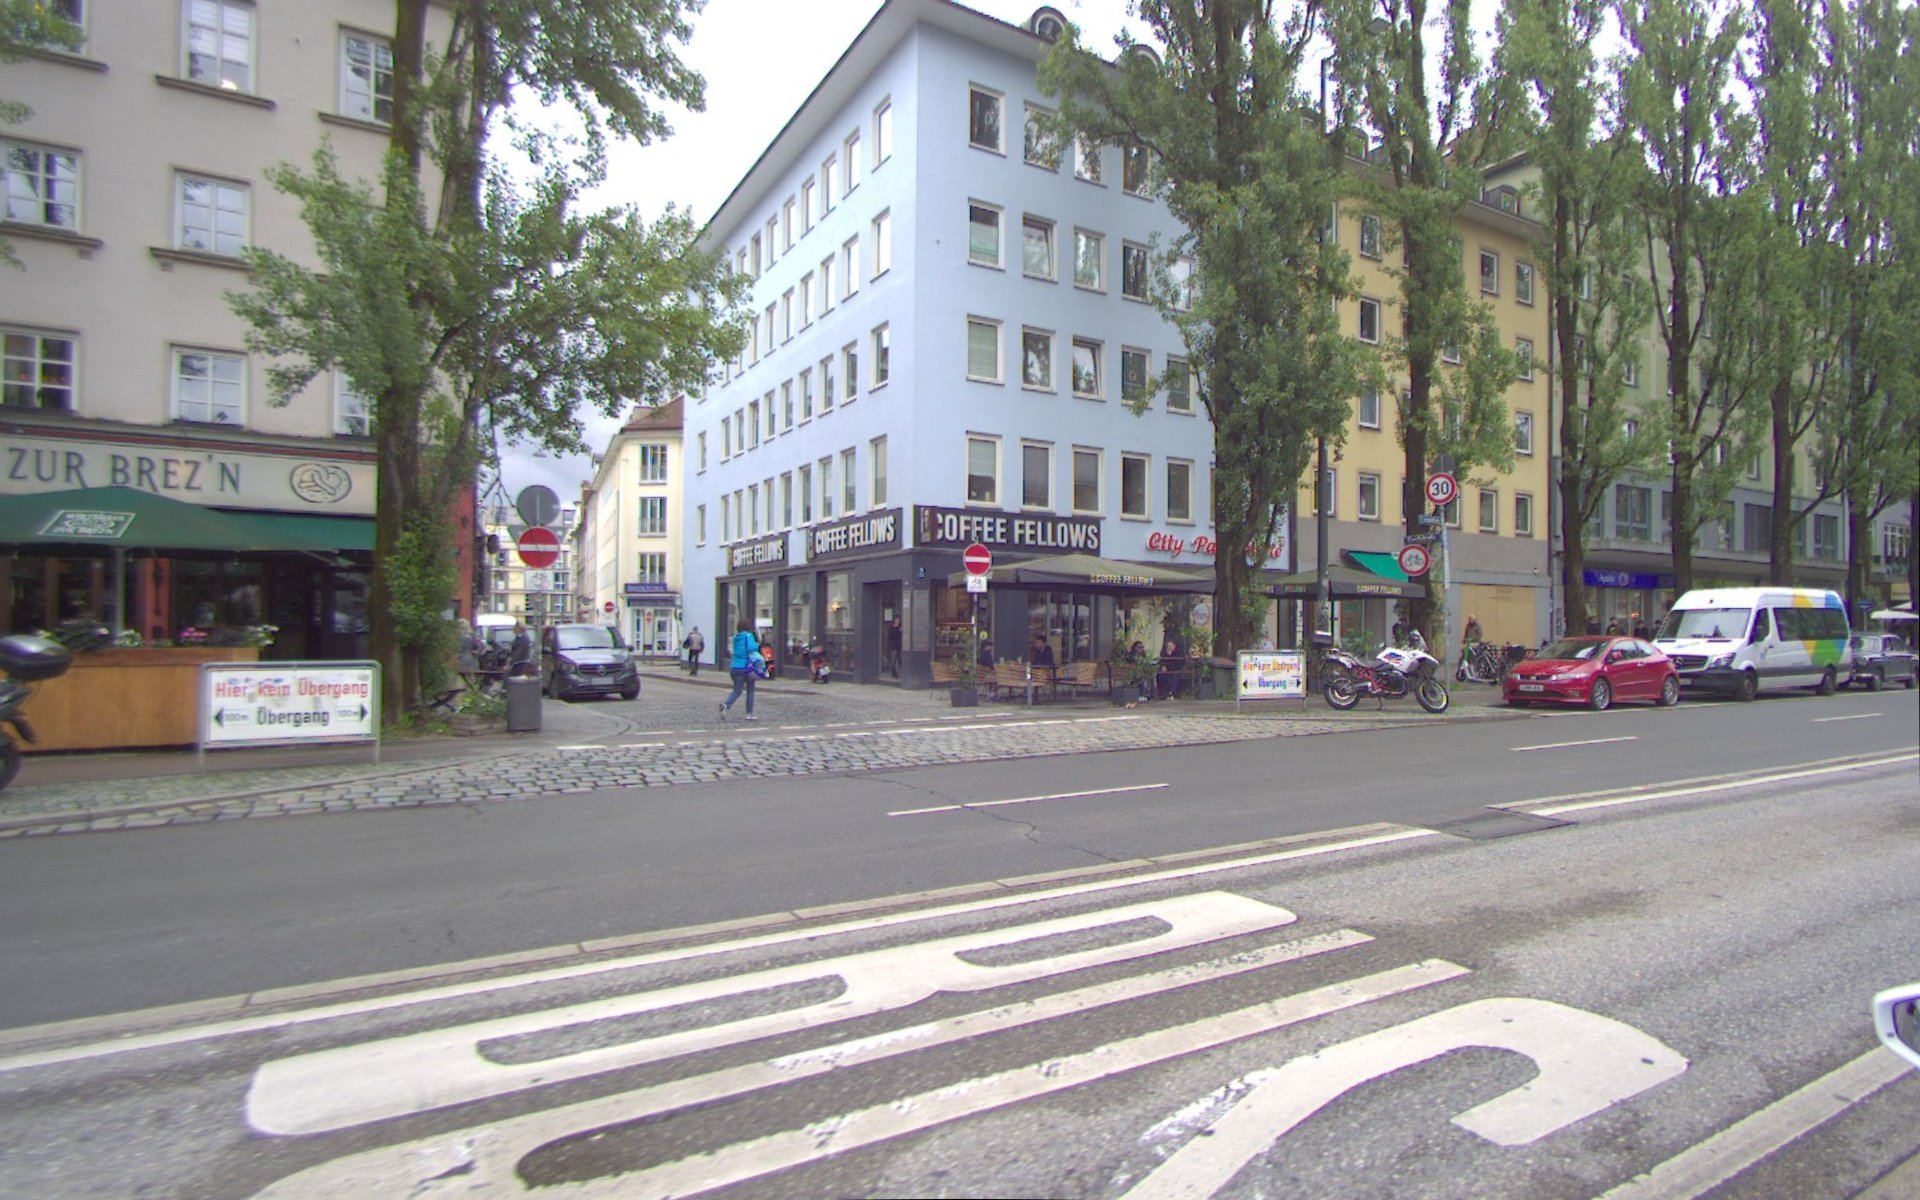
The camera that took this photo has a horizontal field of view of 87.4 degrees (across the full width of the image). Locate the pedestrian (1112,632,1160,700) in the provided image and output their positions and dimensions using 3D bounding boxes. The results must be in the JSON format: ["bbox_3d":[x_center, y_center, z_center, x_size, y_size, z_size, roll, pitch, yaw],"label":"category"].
[{"bbox_3d":[3.669,1.353,20.918,0.692,1.380,0.709,1,-2,-32],"label":"pedestrian"}]

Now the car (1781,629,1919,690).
[{"bbox_3d":[24.871,1.607,27.837,4.363,1.572,1.858,1,-3,-31],"label":"car"}]

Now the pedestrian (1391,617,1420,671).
[{"bbox_3d":[13.808,1.369,31.158,0.553,1.657,0.699,0,-1,-6],"label":"pedestrian"}]

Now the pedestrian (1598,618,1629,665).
[{"bbox_3d":[24.210,1.519,37.201,0.717,1.722,0.695,1,-1,-26],"label":"pedestrian"}]

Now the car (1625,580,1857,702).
[{"bbox_3d":[18.893,0.978,24.171,6.831,2.601,1.996,1,-3,-31],"label":"car"}]

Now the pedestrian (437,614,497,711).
[{"bbox_3d":[-8.734,1.096,17.835,0.916,1.668,0.696,1,-2,-25],"label":"pedestrian"}]

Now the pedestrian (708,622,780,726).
[{"bbox_3d":[-3.612,1.214,16.802,0.690,1.668,0.945,-1,-2,44],"label":"pedestrian"}]

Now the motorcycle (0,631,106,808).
[{"bbox_3d":[-8.363,0.961,7.867,0.732,1.433,2.452,-1,-2,26],"label":"motorcycle"}]

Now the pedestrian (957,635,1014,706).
[{"bbox_3d":[0.520,1.405,20.240,0.938,1.380,0.695,1,-1,-28],"label":"pedestrian"}]

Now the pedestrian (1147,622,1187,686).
[{"bbox_3d":[5.621,1.447,27.261,0.775,1.708,0.753,1,-1,-27],"label":"pedestrian"}]

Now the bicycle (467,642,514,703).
[{"bbox_3d":[-10.076,1.516,21.512,0.638,1.220,2.328,1,-2,-31],"label":"bicycle"}]

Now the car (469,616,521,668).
[{"bbox_3d":[-22.547,2.041,48.647,1.959,2.396,4.553,1,-3,-29],"label":"car"}]

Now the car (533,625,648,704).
[{"bbox_3d":[-9.361,1.568,25.251,1.960,1.789,4.551,1,-3,-30],"label":"car"}]

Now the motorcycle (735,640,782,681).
[{"bbox_3d":[-6.610,1.945,32.842,0.729,1.219,2.748,-1,-1,-29],"label":"motorcycle"}]

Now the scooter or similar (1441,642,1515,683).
[{"bbox_3d":[13.635,1.627,26.483,0.417,1.040,1.763,1,-2,-32],"label":"scooter or similar"}]

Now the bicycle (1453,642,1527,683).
[{"bbox_3d":[14.149,1.643,26.853,0.417,1.040,1.763,1,-2,-32],"label":"bicycle"}]

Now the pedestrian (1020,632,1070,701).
[{"bbox_3d":[1.754,1.359,20.741,0.808,1.380,0.695,1,-1,-27],"label":"pedestrian"}]

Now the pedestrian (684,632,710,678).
[{"bbox_3d":[-9.656,1.993,36.843,0.693,1.668,0.859,1,-2,-34],"label":"pedestrian"}]

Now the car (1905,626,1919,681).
[{"bbox_3d":[32.136,1.678,31.924,4.557,1.686,1.858,1,-3,-31],"label":"car"}]

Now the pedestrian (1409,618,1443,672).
[{"bbox_3d":[14.405,1.389,31.061,0.713,1.657,0.699,0,-1,-6],"label":"pedestrian"}]

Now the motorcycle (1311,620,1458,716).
[{"bbox_3d":[7.410,1.168,17.646,2.301,1.584,0.715,1,0,18],"label":"motorcycle"}]

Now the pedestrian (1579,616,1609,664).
[{"bbox_3d":[23.947,1.505,37.935,0.717,1.818,0.695,1,-1,-26],"label":"pedestrian"}]

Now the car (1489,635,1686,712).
[{"bbox_3d":[12.929,1.448,20.660,4.100,1.438,1.729,1,-3,-31],"label":"car"}]

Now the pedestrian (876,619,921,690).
[{"bbox_3d":[-1.580,1.382,25.883,0.933,1.796,0.699,-1,-1,30],"label":"pedestrian"}]

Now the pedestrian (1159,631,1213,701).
[{"bbox_3d":[4.632,1.337,20.633,0.838,1.380,0.694,1,-2,-31],"label":"pedestrian"}]

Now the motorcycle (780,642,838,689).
[{"bbox_3d":[-4.362,1.846,28.835,0.729,1.219,2.748,-1,-1,-29],"label":"motorcycle"}]

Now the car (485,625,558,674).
[{"bbox_3d":[-17.155,1.940,39.197,2.093,1.789,4.551,1,-3,-30],"label":"car"}]

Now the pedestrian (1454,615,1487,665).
[{"bbox_3d":[17.297,1.344,34.032,0.718,1.657,0.695,1,-1,-28],"label":"pedestrian"}]

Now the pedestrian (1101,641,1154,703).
[{"bbox_3d":[3.351,1.434,20.153,0.692,1.198,0.811,1,-2,-32],"label":"pedestrian"}]

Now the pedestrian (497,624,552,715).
[{"bbox_3d":[-8.195,1.292,18.912,0.916,1.668,0.696,1,-1,-25],"label":"pedestrian"}]
